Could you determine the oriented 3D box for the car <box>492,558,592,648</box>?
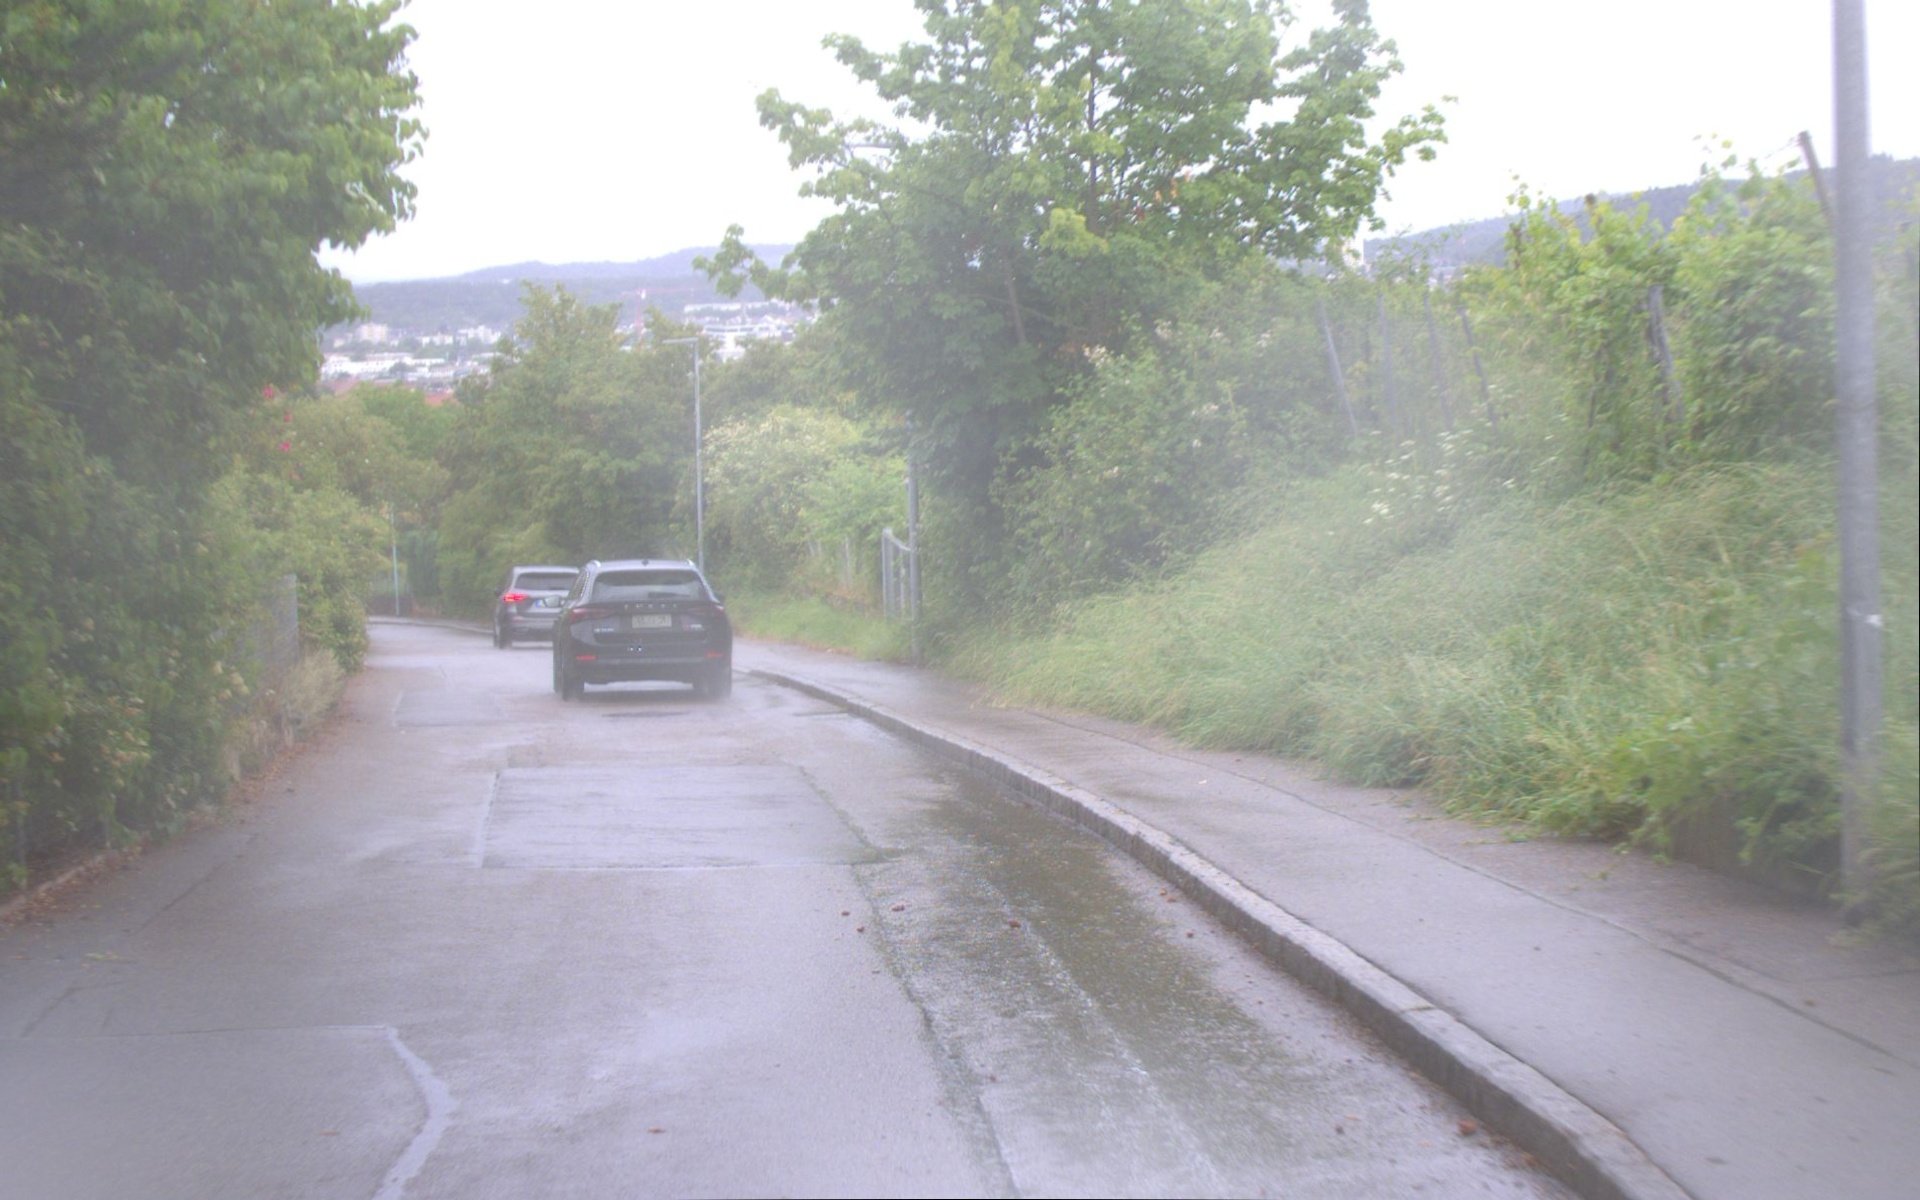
[{"bbox_3d":[-7.800,0.023,63.949,1.677,1.560,3.795,-1,1,-9],"label":"car"}]

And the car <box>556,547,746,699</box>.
[{"bbox_3d":[-3.336,0.207,36.560,1.834,1.459,4.001,-2,1,-7],"label":"car"}]
